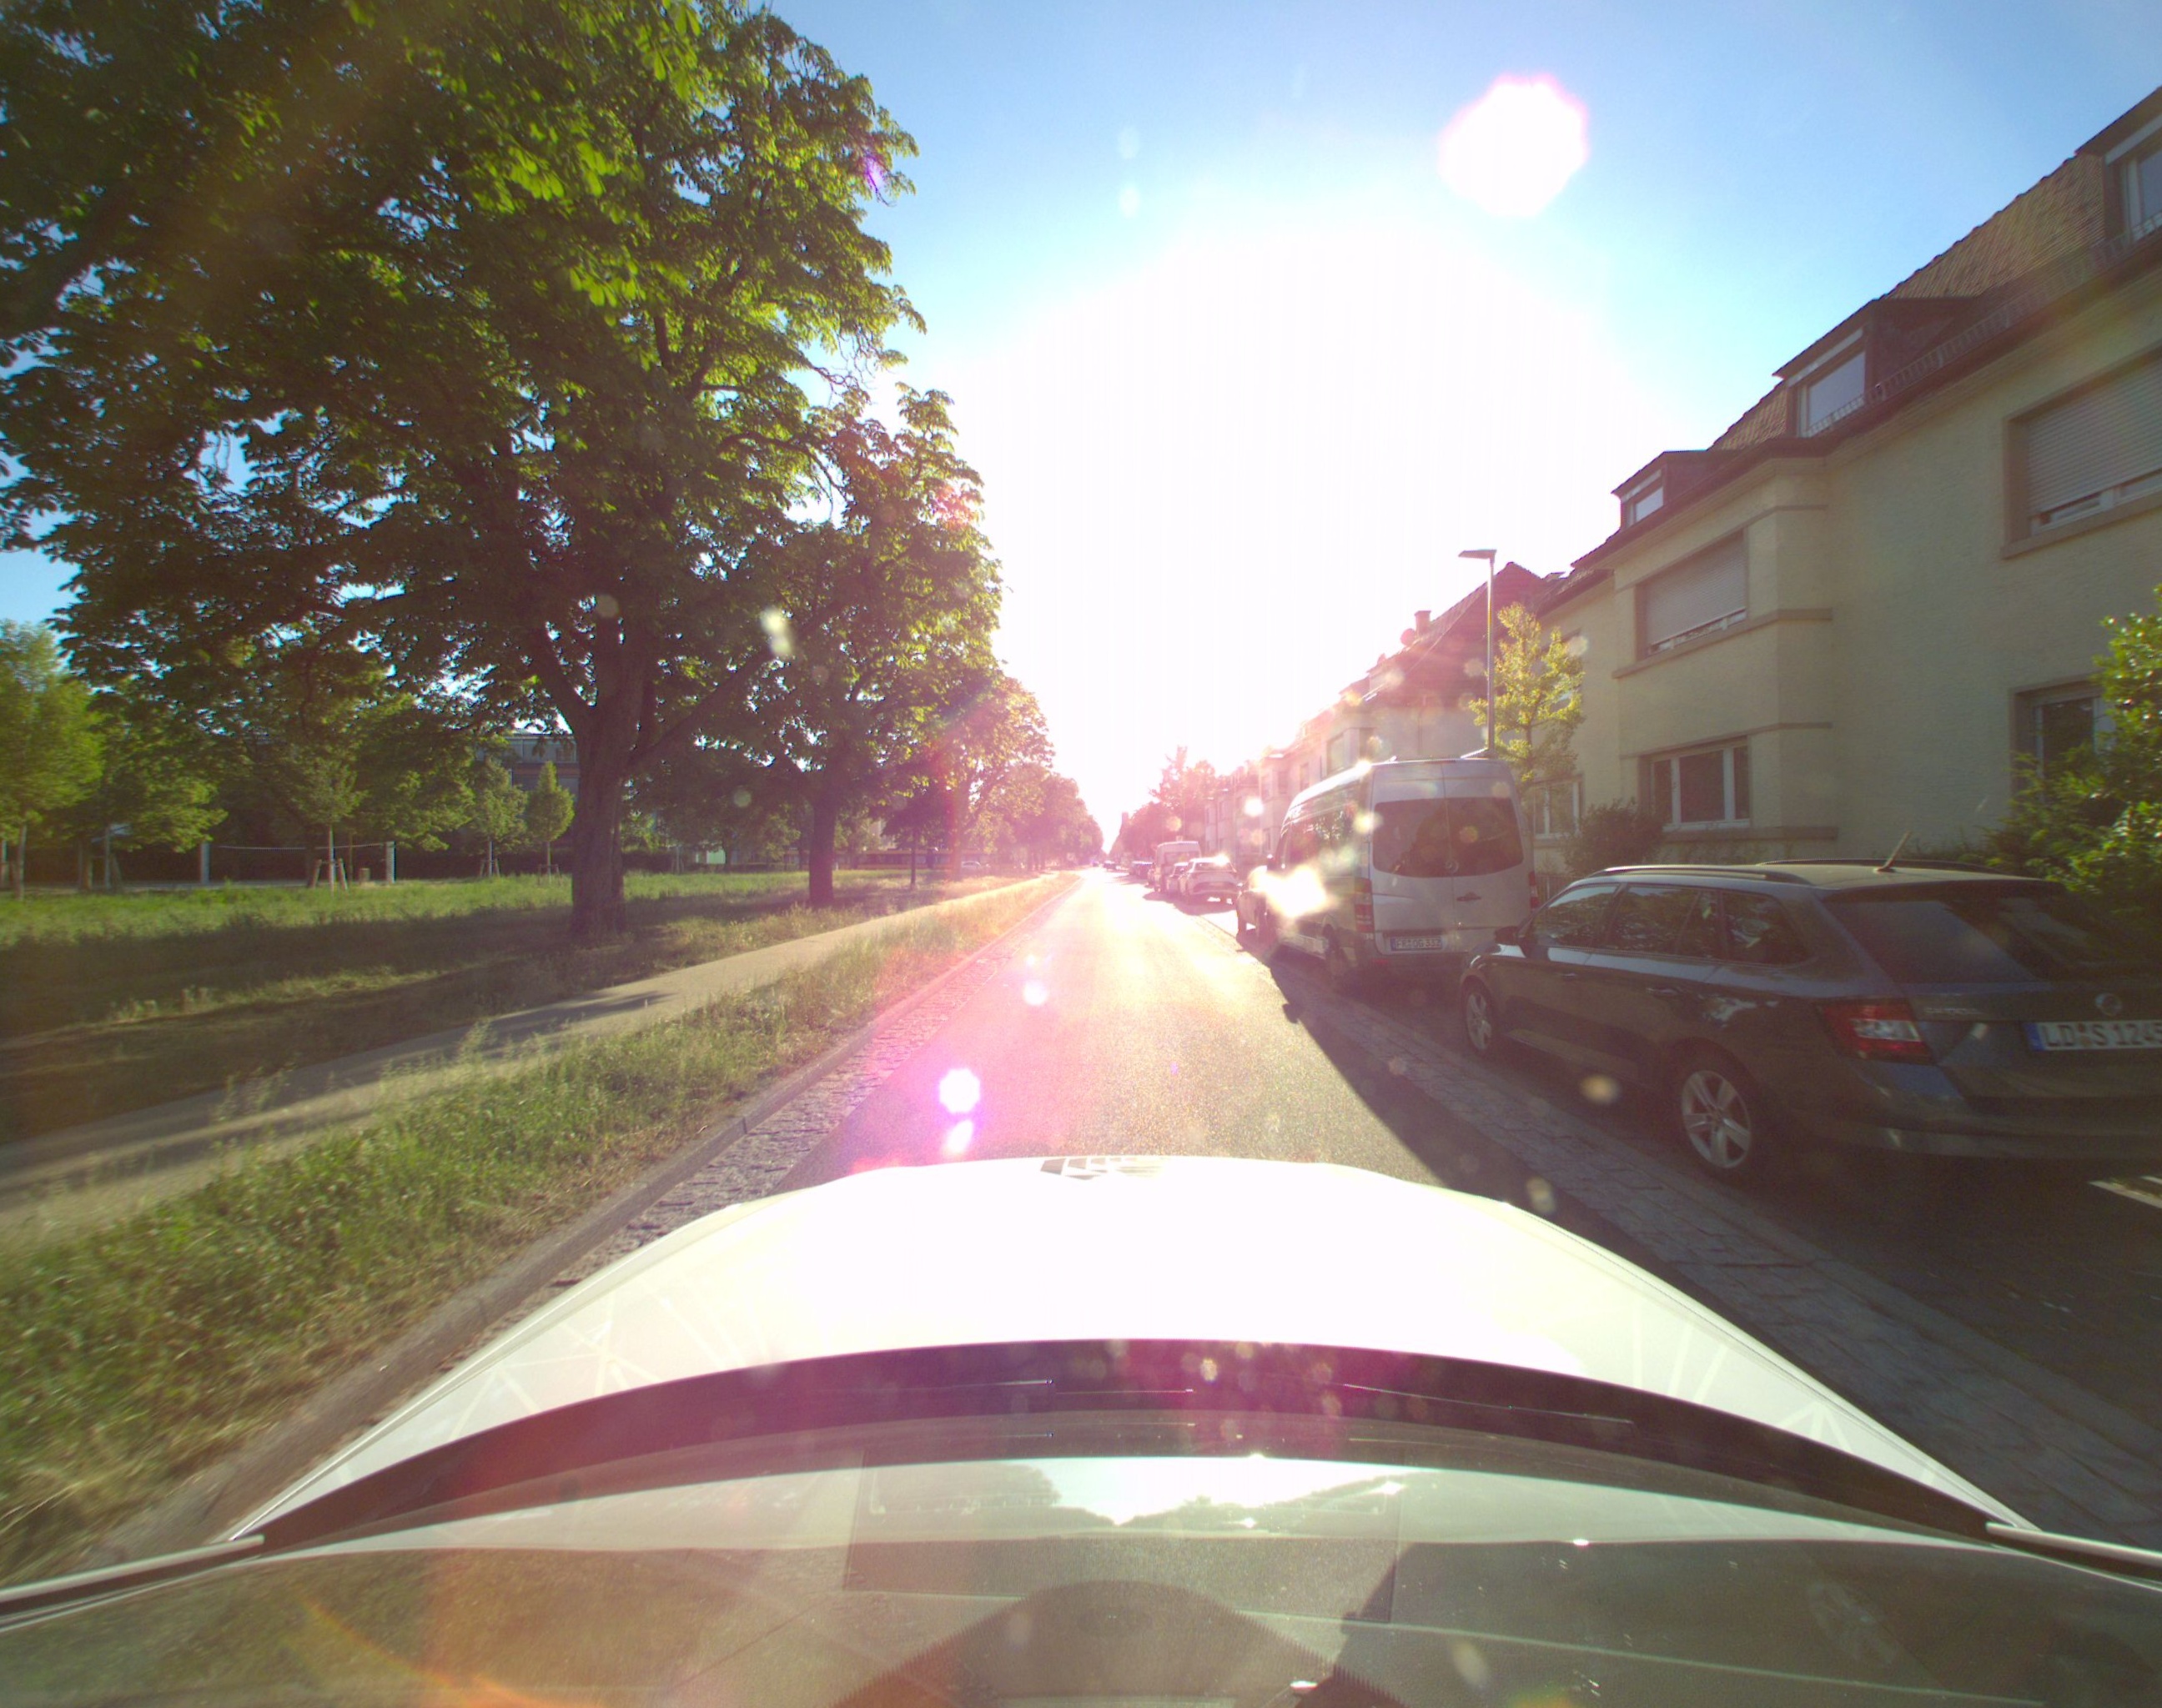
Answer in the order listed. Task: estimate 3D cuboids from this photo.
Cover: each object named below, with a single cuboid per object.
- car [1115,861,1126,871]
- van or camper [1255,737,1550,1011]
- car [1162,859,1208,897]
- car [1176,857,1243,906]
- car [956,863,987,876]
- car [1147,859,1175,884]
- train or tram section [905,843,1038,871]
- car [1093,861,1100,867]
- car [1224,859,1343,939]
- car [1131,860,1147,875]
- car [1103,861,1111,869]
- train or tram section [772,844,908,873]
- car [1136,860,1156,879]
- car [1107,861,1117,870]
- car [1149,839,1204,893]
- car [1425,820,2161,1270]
[{"bbox_3d":[6.213,1.880,129.152,1.643,1.530,3.854,-2,0,3],"label":"car"},{"bbox_3d":[3.918,0.256,11.292,1.936,2.778,5.942,1,-1,2],"label":"van or camper"},{"bbox_3d":[4.481,0.993,35.486,1.643,1.530,3.854,-2,0,3],"label":"car"},{"bbox_3d":[4.674,0.953,30.124,1.831,1.636,4.131,-2,0,0],"label":"car"},{"bbox_3d":[-15.474,2.248,115.078,4.342,1.764,1.995,1,-1,-7],"label":"car"},{"bbox_3d":[5.305,1.137,54.134,1.643,1.530,3.854,-2,0,3],"label":"car"},{"bbox_3d":[-16.499,0.496,123.973,19.755,3.956,3.636,1,-1,-6],"label":"train or tram section"},{"bbox_3d":[4.453,2.886,232.336,1.803,1.530,3.854,-2,0,3],"label":"car"},{"bbox_3d":[4.208,0.887,17.530,1.615,1.411,3.970,-4,-1,2],"label":"car"},{"bbox_3d":[6.386,1.509,90.159,1.643,1.530,3.854,-2,0,3],"label":"car"},{"bbox_3d":[5.835,2.417,181.421,1.643,1.530,3.854,-2,0,3],"label":"car"},{"bbox_3d":[-35.837,0.667,121.831,19.046,3.956,3.636,1,-1,-6],"label":"train or tram section"},{"bbox_3d":[5.812,1.373,73.304,1.643,1.530,3.854,-2,0,3],"label":"car"},{"bbox_3d":[5.679,2.074,147.630,1.643,1.530,3.854,-2,0,3],"label":"car"},{"bbox_3d":[4.792,0.600,41.572,2.120,2.533,5.187,-2,0,0],"label":"car"},{"bbox_3d":[3.790,0.709,5.029,1.657,1.593,4.087,-3,-1,2],"label":"car"}]
